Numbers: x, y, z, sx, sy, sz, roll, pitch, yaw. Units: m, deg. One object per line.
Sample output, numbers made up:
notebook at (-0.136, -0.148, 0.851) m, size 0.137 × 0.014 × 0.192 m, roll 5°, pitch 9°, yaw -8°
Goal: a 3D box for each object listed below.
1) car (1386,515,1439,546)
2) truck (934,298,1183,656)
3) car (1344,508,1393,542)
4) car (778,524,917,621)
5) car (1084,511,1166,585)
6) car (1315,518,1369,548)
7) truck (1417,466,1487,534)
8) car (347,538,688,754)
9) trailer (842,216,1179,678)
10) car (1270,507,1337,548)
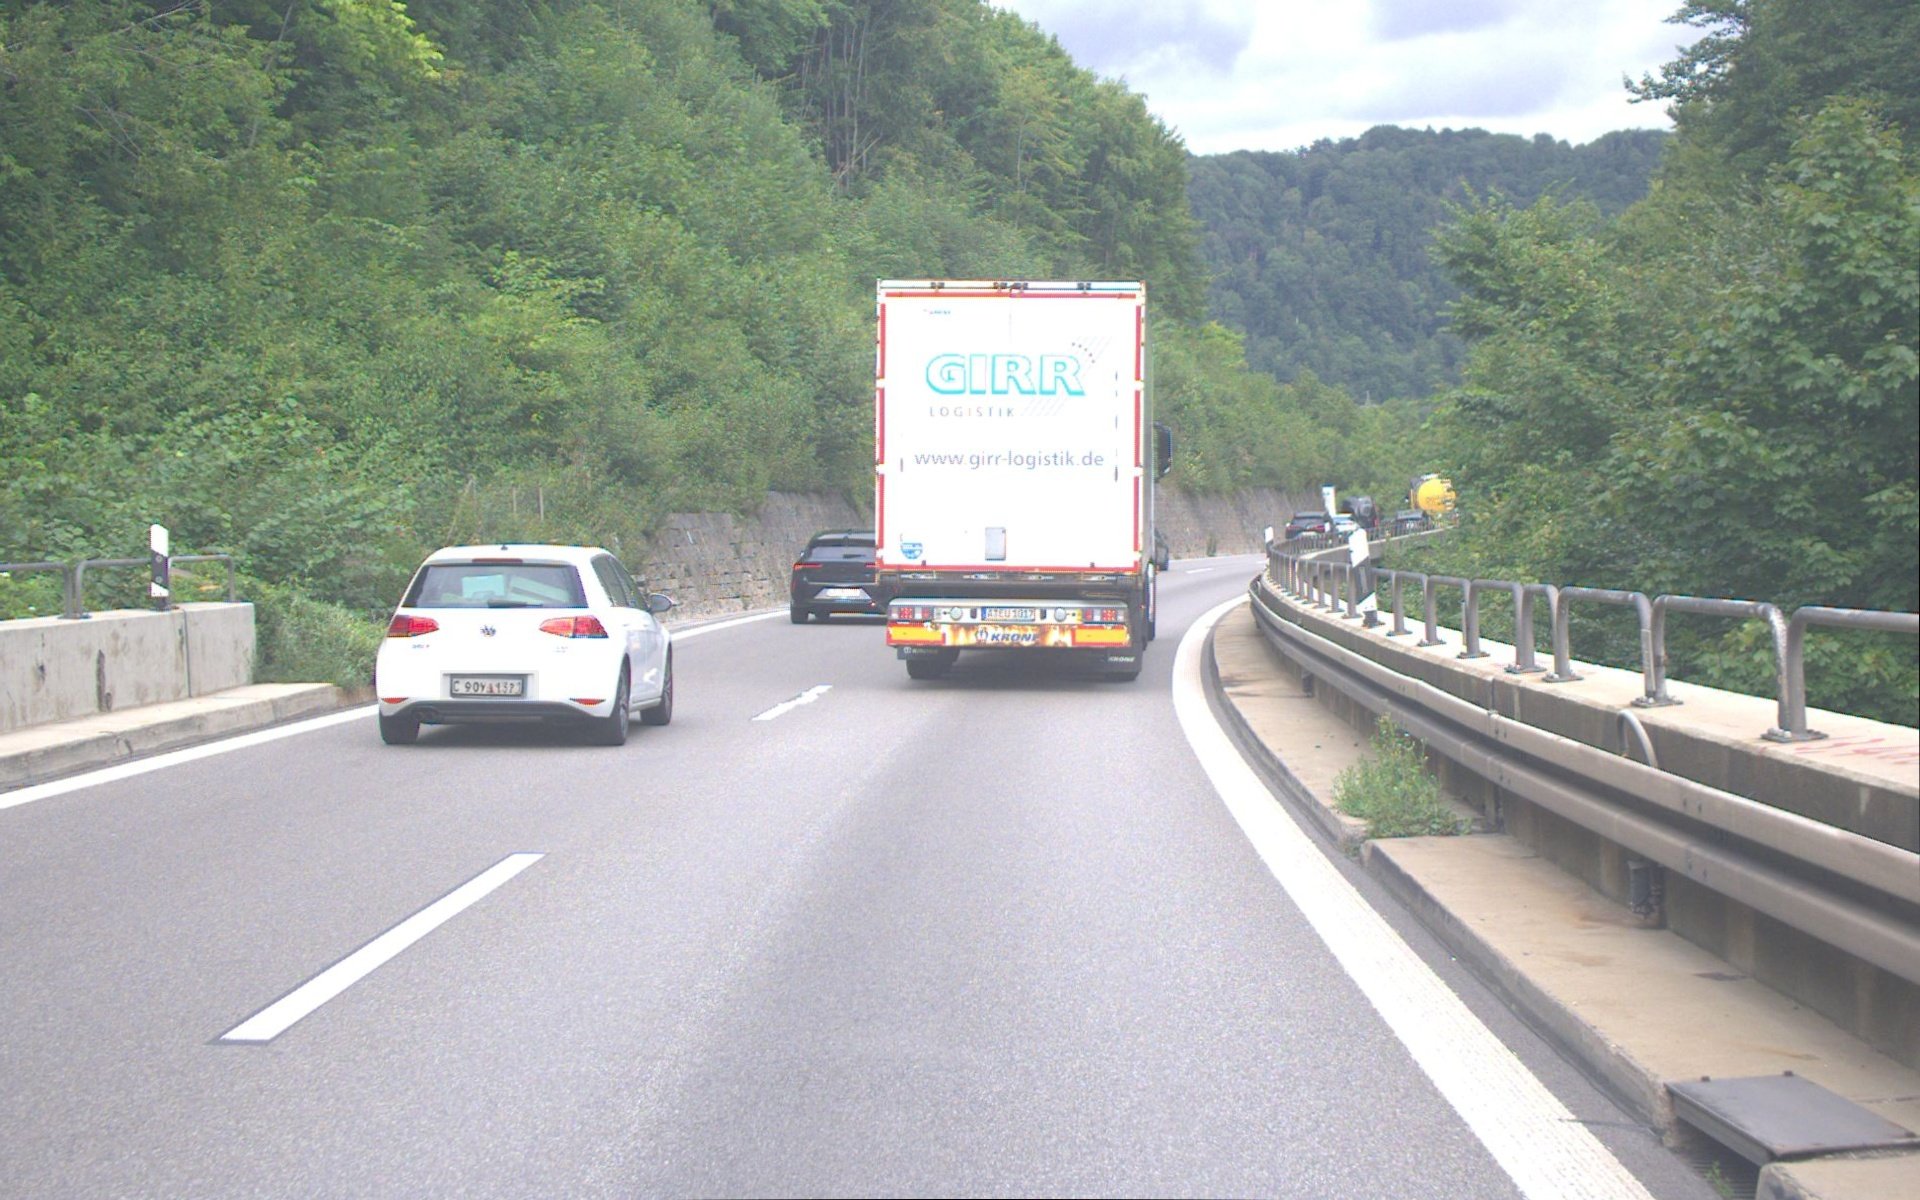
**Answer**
car at (21.797, -3.333, 165.591) m, size 1.995 × 1.481 × 3.997 m, roll 0°, pitch 1°, yaw 15°
truck at (1.399, -1.514, 44.993) m, size 2.814 × 4.288 × 6.258 m, roll -1°, pitch 0°, yaw 5°
car at (22.245, -4.077, 186.988) m, size 1.995 × 1.777 × 3.997 m, roll 0°, pitch 1°, yaw 16°
car at (-1.724, -0.432, 54.107) m, size 1.773 × 1.456 × 4.581 m, roll -1°, pitch 0°, yaw 3°
car at (4.762, -1.468, 98.846) m, size 1.994 × 2.007 × 3.999 m, roll -1°, pitch 0°, yaw 7°
car at (18.866, -3.307, 169.722) m, size 1.995 × 1.481 × 3.997 m, roll 0°, pitch 1°, yaw 16°
truck at (29.897, -6.028, 208.505) m, size 2.510 × 3.845 × 8.127 m, roll -1°, pitch 0°, yaw 20°
car at (-3.234, 0.274, 26.014) m, size 1.845 × 1.476 × 4.628 m, roll 0°, pitch 1°, yaw 2°
trailer at (0.854, -1.468, 38.562) m, size 2.814 × 4.288 × 12.242 m, roll -1°, pitch 0°, yaw 5°
car at (14.010, -2.931, 139.941) m, size 1.995 × 1.560 × 3.997 m, roll -1°, pitch 0°, yaw 16°
